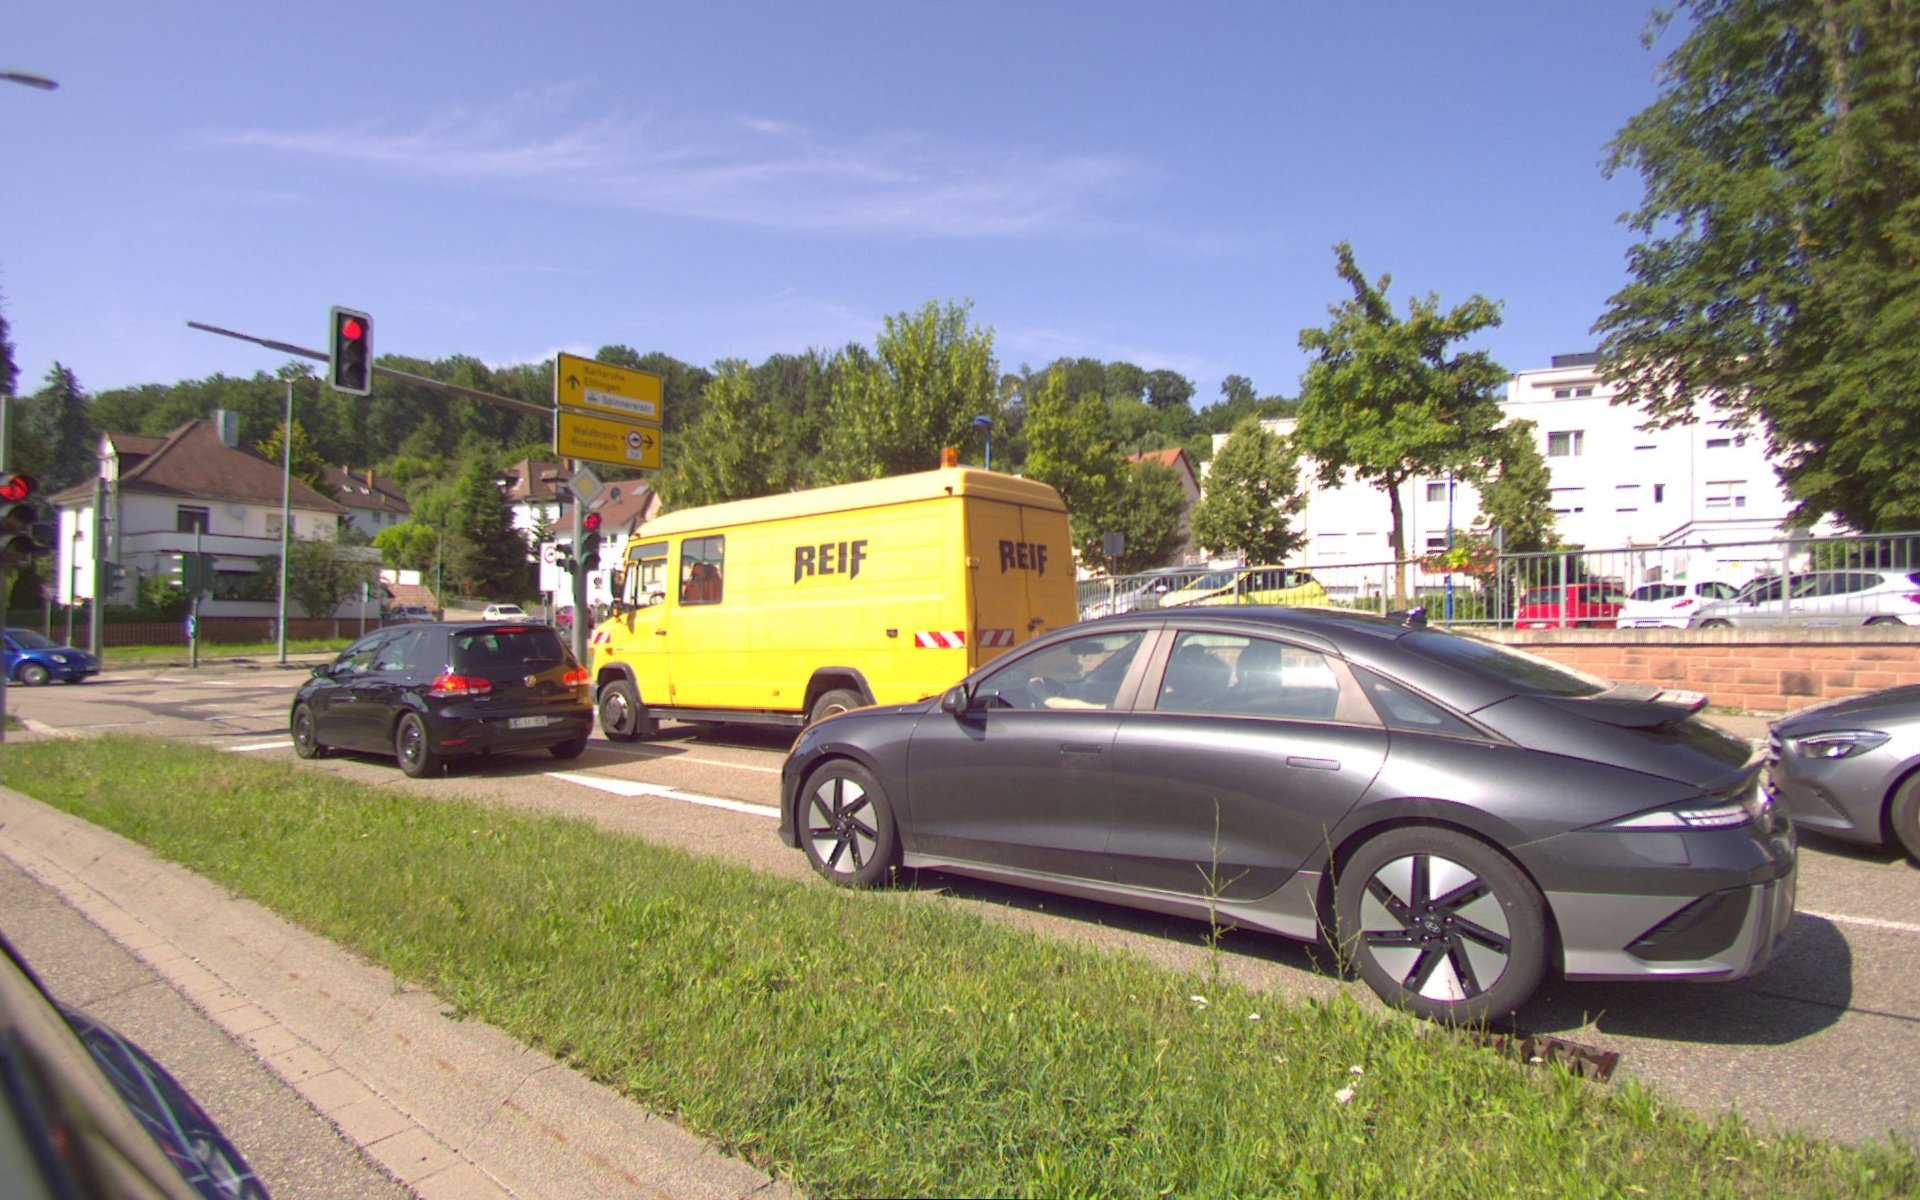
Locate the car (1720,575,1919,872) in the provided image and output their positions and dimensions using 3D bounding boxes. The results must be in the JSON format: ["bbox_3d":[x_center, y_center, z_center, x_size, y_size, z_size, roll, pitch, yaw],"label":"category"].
[{"bbox_3d":[6.793,0.619,5.123,4.509,1.576,1.972,-2,-1,43],"label":"car"}]

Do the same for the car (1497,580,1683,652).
[{"bbox_3d":[15.747,0.386,25.330,3.931,1.571,1.920,-2,-1,-21],"label":"car"}]

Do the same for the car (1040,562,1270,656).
[{"bbox_3d":[4.160,0.160,21.665,4.339,1.709,2.064,-3,1,-21],"label":"car"}]

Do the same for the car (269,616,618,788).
[{"bbox_3d":[-5.516,0.930,10.635,4.037,1.474,1.729,-2,-2,38],"label":"car"}]

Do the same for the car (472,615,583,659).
[{"bbox_3d":[-16.549,1.371,39.012,1.955,1.515,4.745,-2,-1,4],"label":"car"}]

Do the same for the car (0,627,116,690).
[{"bbox_3d":[-24.185,1.474,25.581,3.921,1.515,1.985,0,-1,-12],"label":"car"}]

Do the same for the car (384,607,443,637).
[{"bbox_3d":[-33.089,1.362,61.259,3.999,1.649,1.914,-3,-1,42],"label":"car"}]

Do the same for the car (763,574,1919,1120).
[{"bbox_3d":[1.313,0.725,4.872,4.709,1.482,1.775,-2,-1,38],"label":"car"}]

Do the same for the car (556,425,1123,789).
[{"bbox_3d":[-1.637,0.098,11.404,6.456,3.033,2.444,-1,0,38],"label":"car"}]

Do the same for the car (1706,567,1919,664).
[{"bbox_3d":[17.340,0.279,20.193,3.931,1.684,2.006,-2,-1,-19],"label":"car"}]

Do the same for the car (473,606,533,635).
[{"bbox_3d":[-27.767,1.263,61.458,4.002,1.619,1.971,-3,-1,45],"label":"car"}]

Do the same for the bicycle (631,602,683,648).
[{"bbox_3d":[-9.325,0.769,31.079,1.756,1.265,0.612,-5,1,42],"label":"bicycle"}]

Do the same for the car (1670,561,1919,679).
[{"bbox_3d":[14.870,0.338,17.348,1.888,1.803,4.013,0,-1,-21],"label":"car"}]

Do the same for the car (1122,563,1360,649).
[{"bbox_3d":[5.318,0.100,19.218,3.931,1.392,1.920,-2,0,-21],"label":"car"}]

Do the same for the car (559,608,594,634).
[{"bbox_3d":[-24.237,1.362,63.935,1.633,1.545,3.967,-1,-2,-27],"label":"car"}]

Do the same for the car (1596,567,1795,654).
[{"bbox_3d":[16.779,0.229,23.098,3.931,1.714,1.920,-3,-1,-24],"label":"car"}]
